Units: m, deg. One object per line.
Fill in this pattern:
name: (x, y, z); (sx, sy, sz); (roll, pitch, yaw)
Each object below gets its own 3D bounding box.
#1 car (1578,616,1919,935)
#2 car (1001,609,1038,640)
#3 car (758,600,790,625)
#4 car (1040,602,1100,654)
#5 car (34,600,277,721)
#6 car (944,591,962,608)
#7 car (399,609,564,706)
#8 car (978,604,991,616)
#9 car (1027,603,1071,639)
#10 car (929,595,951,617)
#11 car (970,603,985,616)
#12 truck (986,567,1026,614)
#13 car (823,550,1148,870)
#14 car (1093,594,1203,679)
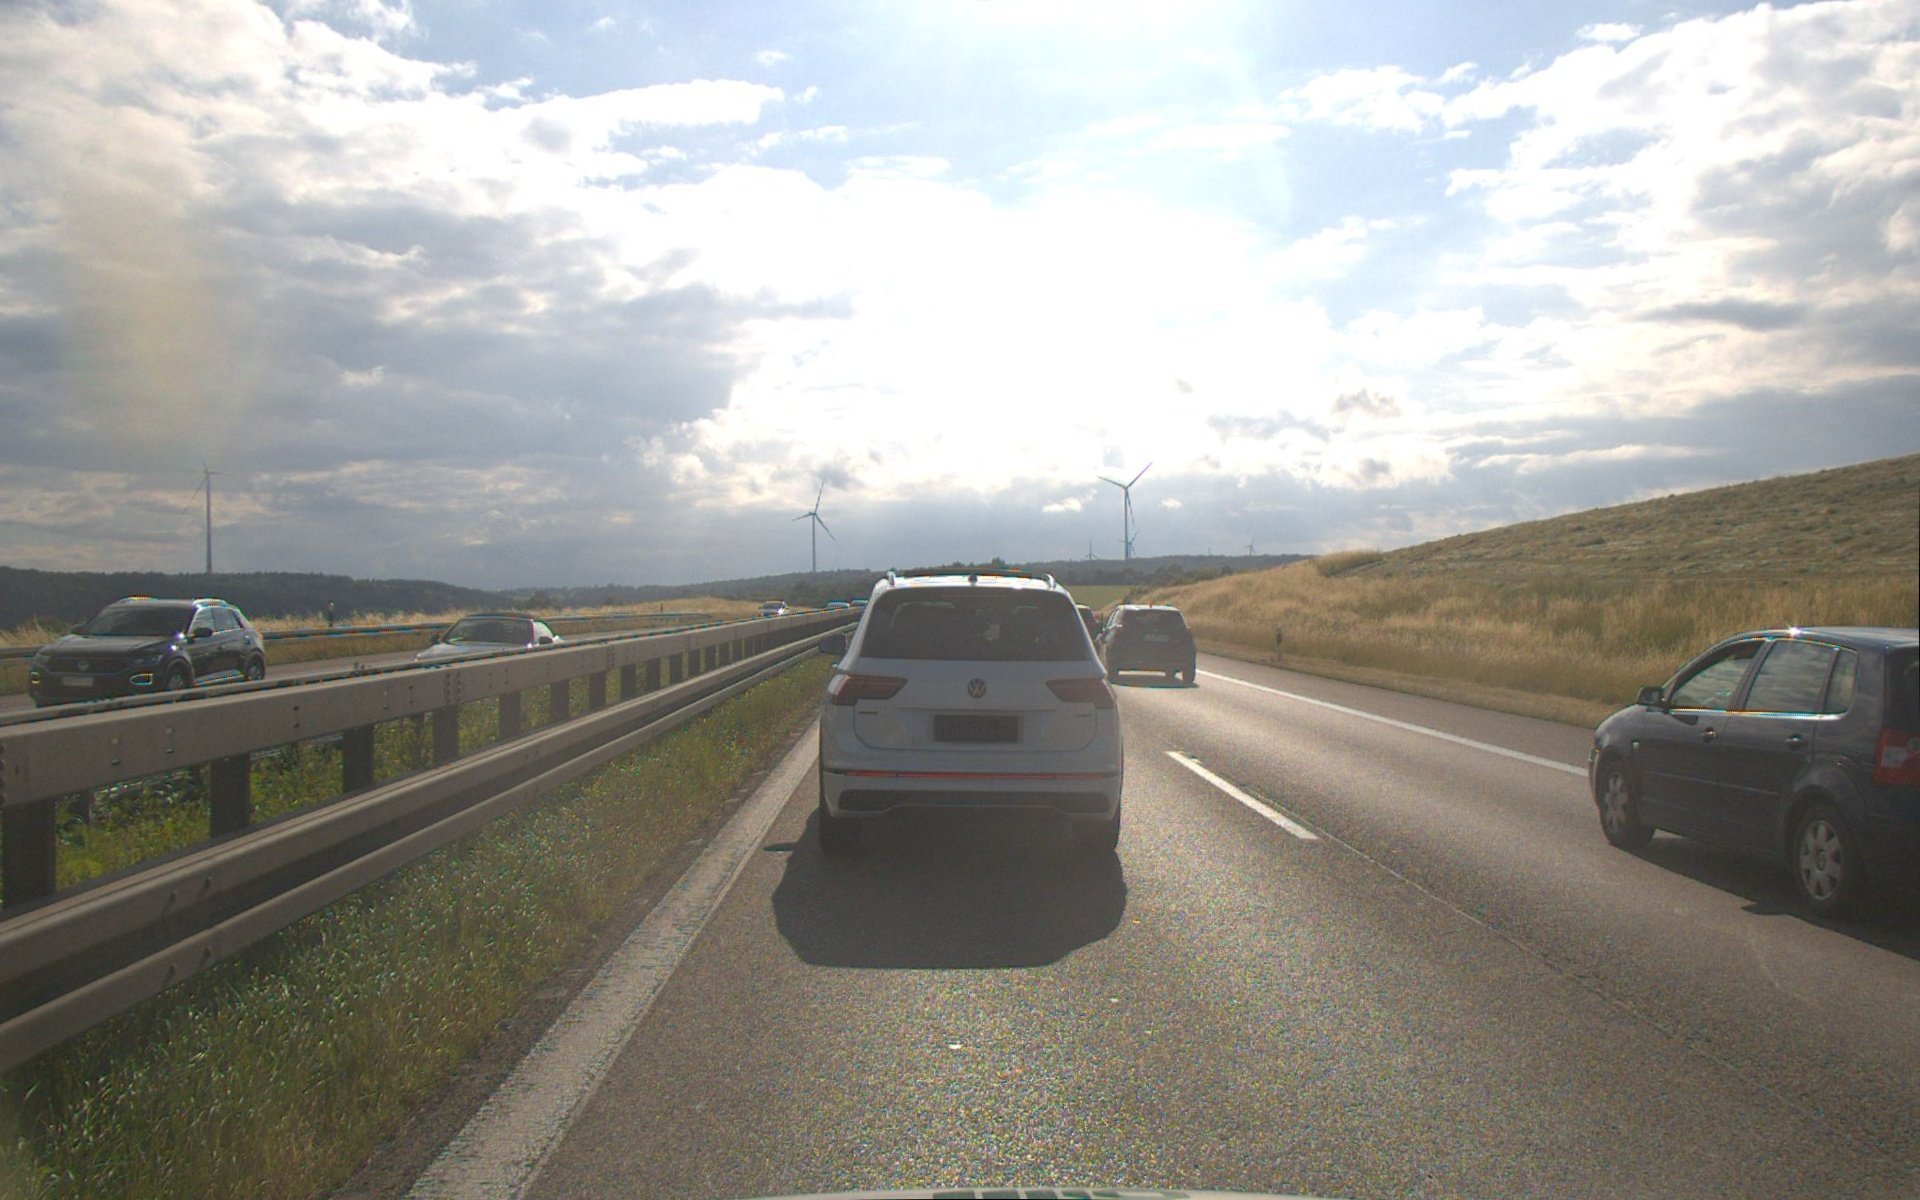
car: (5.051, 0.834, 9.451); (1.573, 1.445, 3.671); (1, 0, -2)
car: (3.087, 1.252, 85.842); (1.669, 1.573, 3.999); (1, 0, -1)
car: (-11.865, 0.803, 105.794); (1.714, 1.505, 4.478); (1, 0, -2)
car: (3.704, 0.938, 56.197); (1.669, 1.679, 3.999); (1, 0, -1)
car: (-11.267, 0.798, 23.465); (1.583, 1.547, 3.998); (1, 0, -2)
car: (-0.718, -0.003, 159.089); (1.669, 1.573, 3.999); (1, 0, -1)
car: (-7.589, 0.874, 26.589); (1.583, 1.416, 3.998); (1, 0, -2)
car: (3.435, 1.385, 229.605); (1.669, 1.573, 3.999); (1, 0, -1)
car: (3.986, 0.926, 74.571); (1.669, 1.573, 3.999); (1, 0, -1)
car: (-1.564, 0.445, 129.045); (1.669, 1.679, 3.999); (1, 0, -1)
car: (2.120, 1.171, 201.229); (1.669, 1.573, 3.999); (1, 0, -1)
truck: (3.720, -0.754, 136.641); (3.118, 3.656, 11.131); (1, 0, 1)
car: (0.102, 0.609, 10.935); (1.734, 1.705, 3.999); (1, 0, -1)
car: (3.731, 0.707, 33.402); (1.669, 1.573, 3.999); (1, 0, -1)
